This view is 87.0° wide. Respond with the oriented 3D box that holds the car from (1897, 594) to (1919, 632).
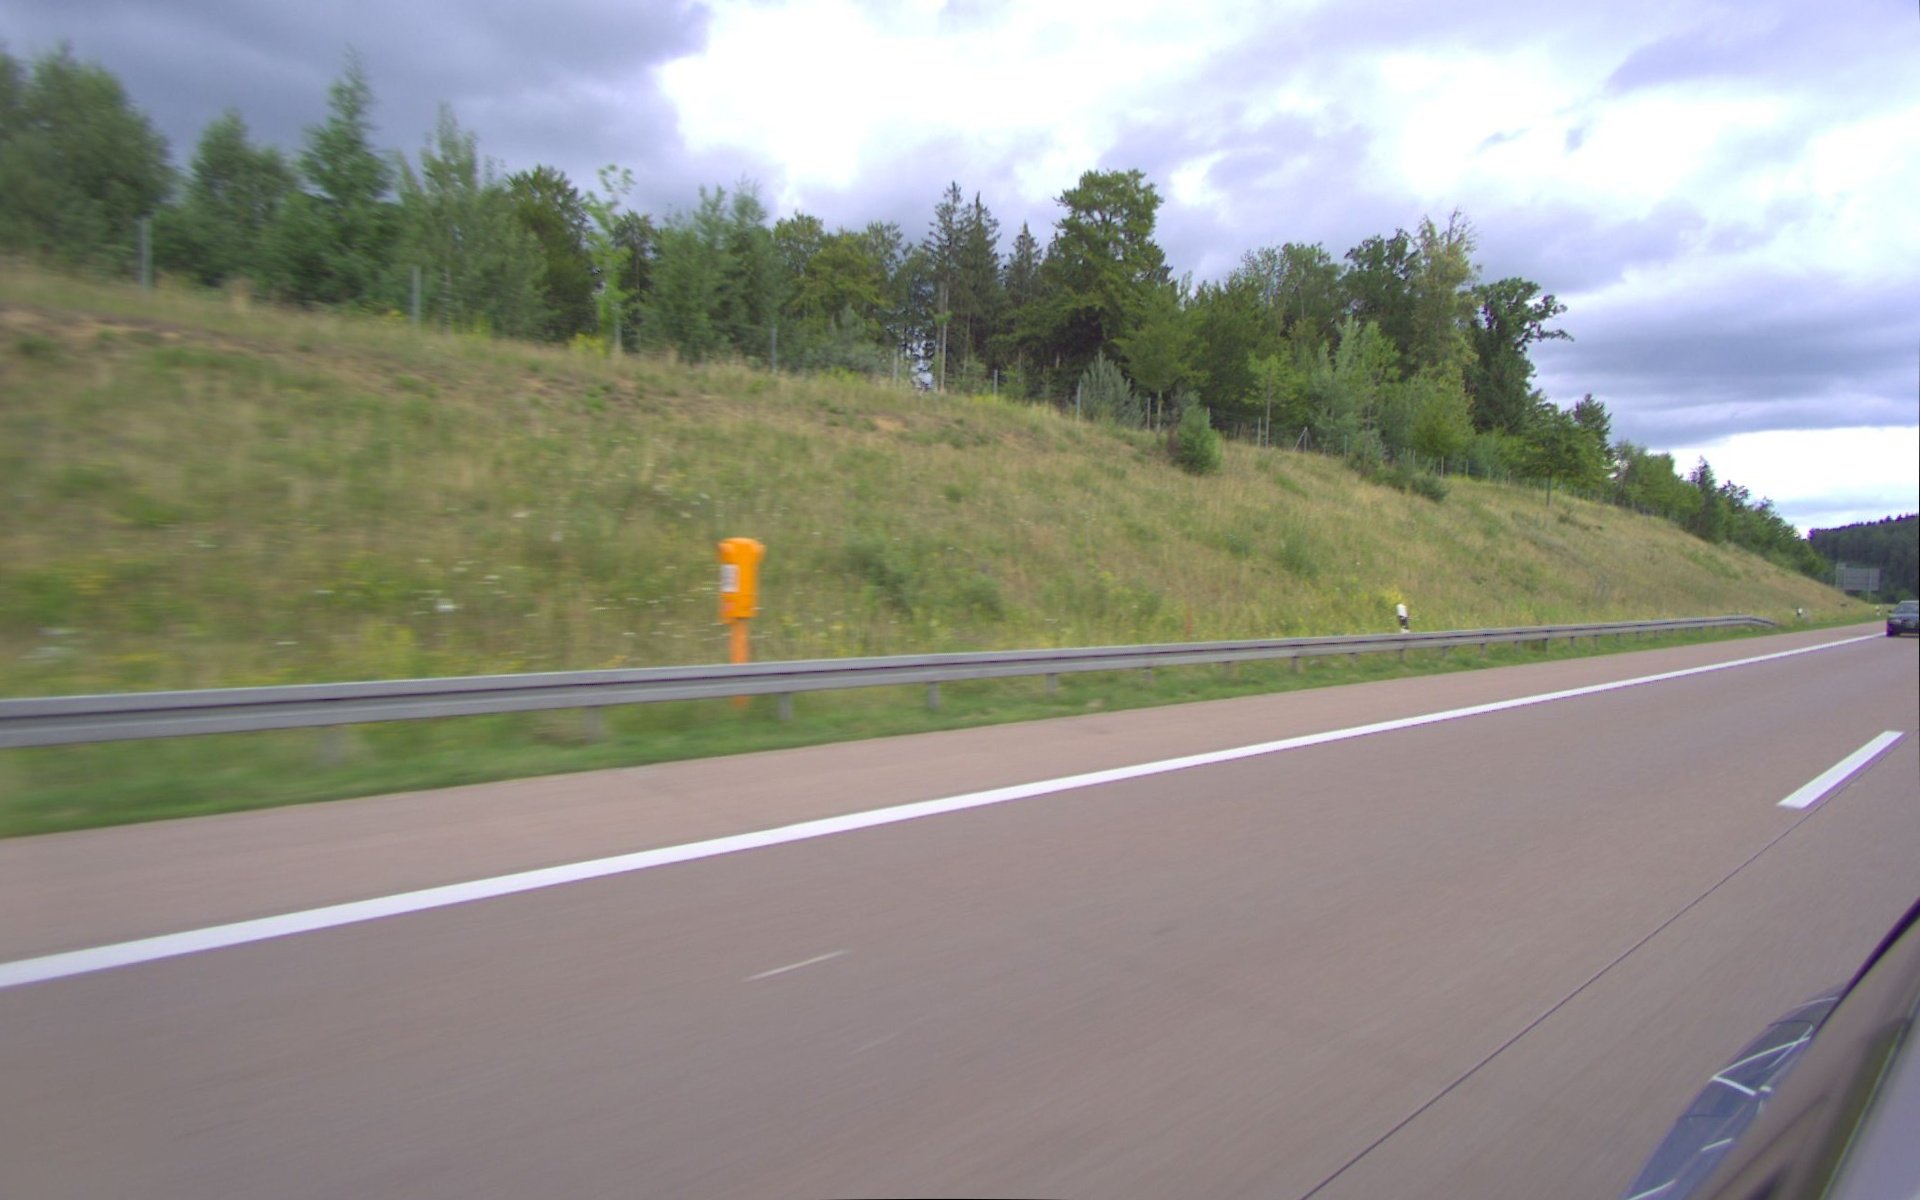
[{"bbox_3d":[38.327,0.496,39.857,4.161,1.420,1.674,-1,2,-42],"label":"car"}]
